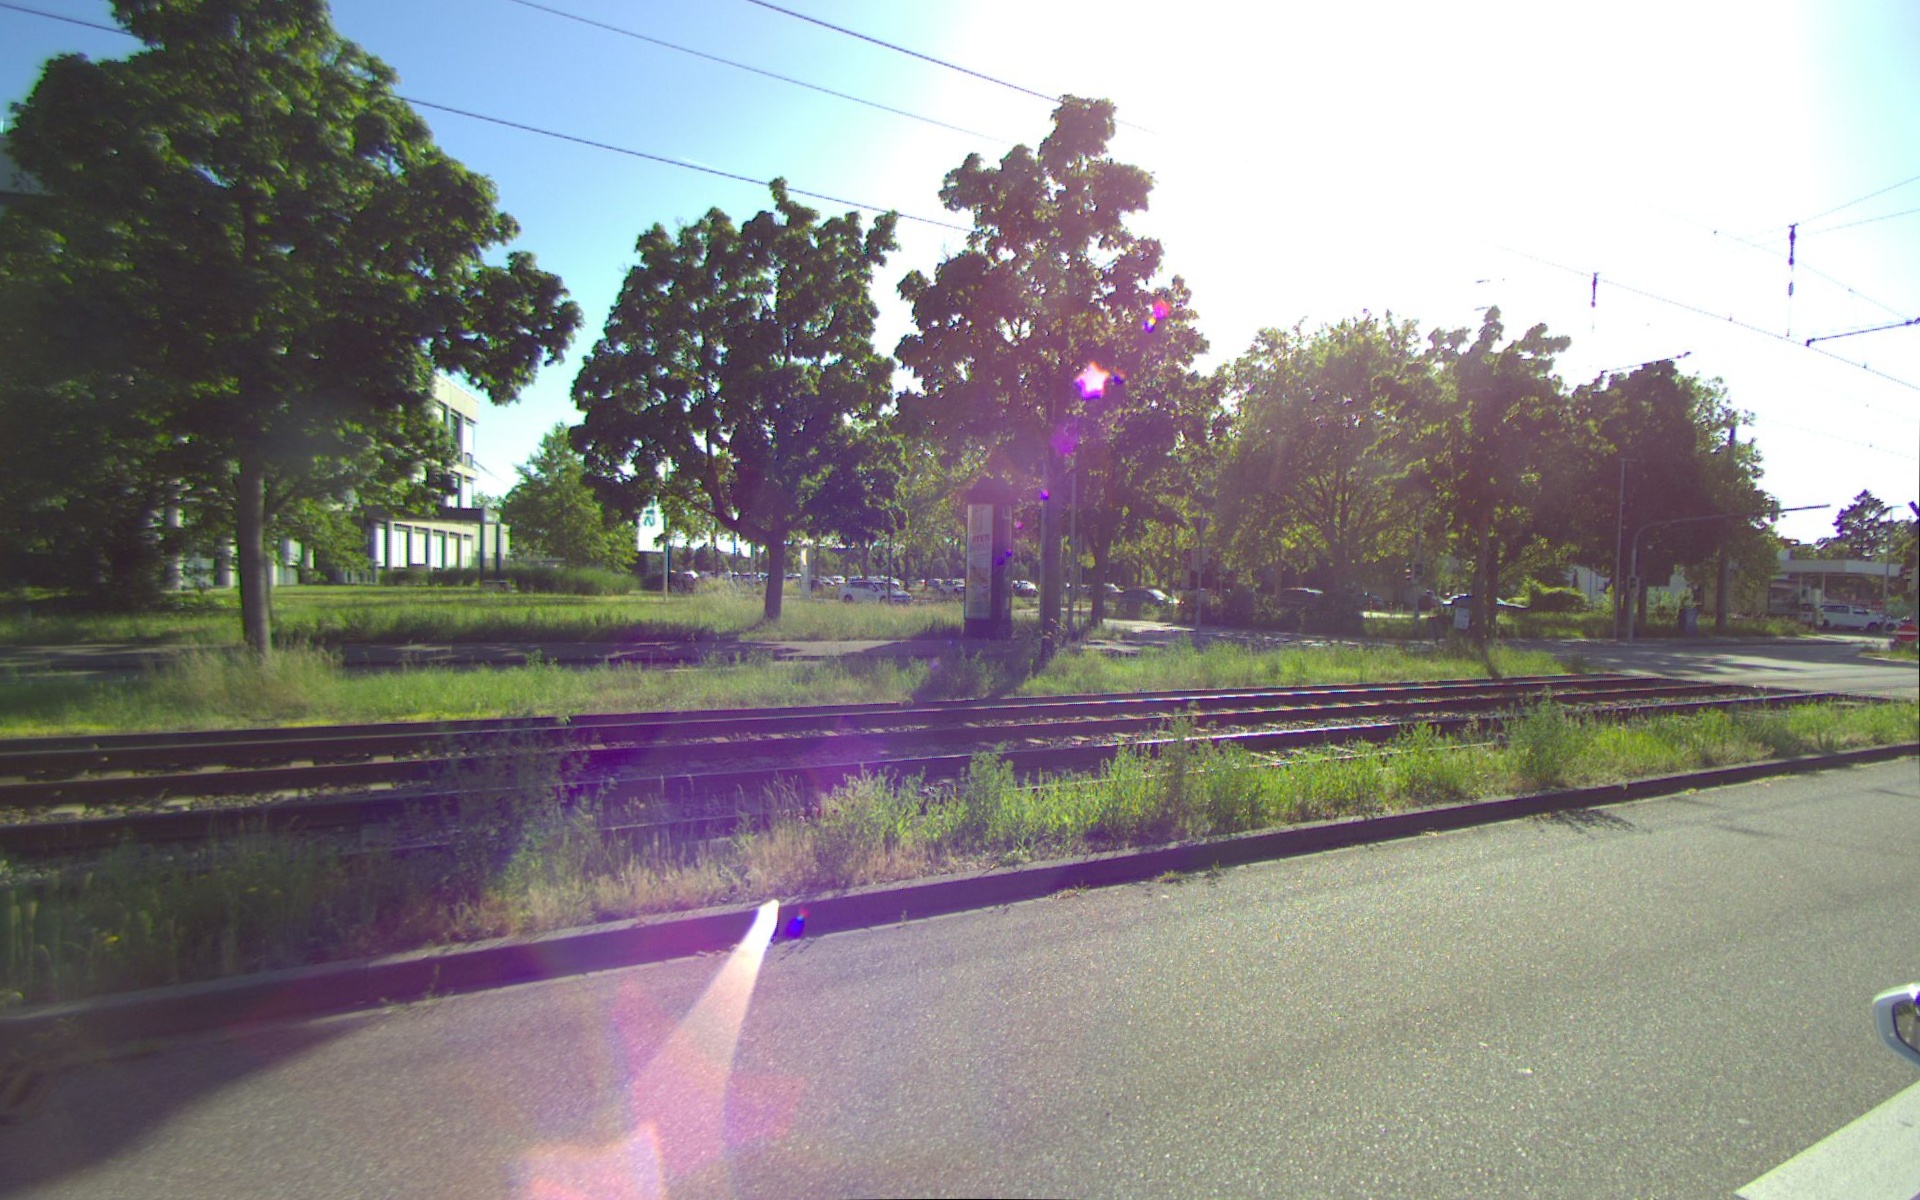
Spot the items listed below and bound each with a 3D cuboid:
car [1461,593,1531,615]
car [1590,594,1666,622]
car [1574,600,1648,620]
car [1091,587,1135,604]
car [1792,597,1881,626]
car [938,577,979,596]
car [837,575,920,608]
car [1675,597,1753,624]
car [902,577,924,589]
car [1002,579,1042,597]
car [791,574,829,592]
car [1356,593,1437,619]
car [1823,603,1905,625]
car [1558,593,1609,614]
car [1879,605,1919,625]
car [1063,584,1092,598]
[{"bbox_3d":[37.104,0.248,69.618,1.649,1.451,3.938,0,1,-35],"label":"car"},{"bbox_3d":[54.522,0.604,82.071,1.998,2.119,4.695,0,1,-32],"label":"car"},{"bbox_3d":[44.644,0.647,68.915,1.649,1.182,3.939,1,2,-35],"label":"car"},{"bbox_3d":[14.192,-0.436,93.222,1.729,1.468,3.938,1,2,-35],"label":"car"},{"bbox_3d":[64.623,0.805,74.143,4.689,2.000,1.861,1,1,7],"label":"car"},{"bbox_3d":[-0.173,-1.316,97.029,1.815,1.690,3.955,0,2,-38],"label":"car"},{"bbox_3d":[-4.502,-0.484,55.154,4.360,1.662,1.983,2,1,37],"label":"car"},{"bbox_3d":[52.315,0.688,69.793,1.714,1.545,3.938,4,1,-35],"label":"car"},{"bbox_3d":[-6.999,-2.582,149.644,1.806,1.627,3.975,1,2,-24],"label":"car"},{"bbox_3d":[6.228,-1.193,100.875,1.815,1.690,3.955,0,2,-38],"label":"car"},{"bbox_3d":[-14.308,-1.644,95.606,1.815,1.627,3.955,0,2,-38],"label":"car"},{"bbox_3d":[25.624,0.312,58.992,1.860,1.400,3.948,0,1,-44],"label":"car"},{"bbox_3d":[68.678,1.071,76.362,4.380,1.548,1.793,1,1,7],"label":"car"},{"bbox_3d":[48.500,0.264,78.115,4.037,1.565,1.571,1,2,-28],"label":"car"},{"bbox_3d":[78.719,1.261,82.787,1.773,1.589,4.047,0,1,-33],"label":"car"},{"bbox_3d":[14.534,-1.132,124.767,1.806,1.627,3.975,1,2,-24],"label":"car"}]
